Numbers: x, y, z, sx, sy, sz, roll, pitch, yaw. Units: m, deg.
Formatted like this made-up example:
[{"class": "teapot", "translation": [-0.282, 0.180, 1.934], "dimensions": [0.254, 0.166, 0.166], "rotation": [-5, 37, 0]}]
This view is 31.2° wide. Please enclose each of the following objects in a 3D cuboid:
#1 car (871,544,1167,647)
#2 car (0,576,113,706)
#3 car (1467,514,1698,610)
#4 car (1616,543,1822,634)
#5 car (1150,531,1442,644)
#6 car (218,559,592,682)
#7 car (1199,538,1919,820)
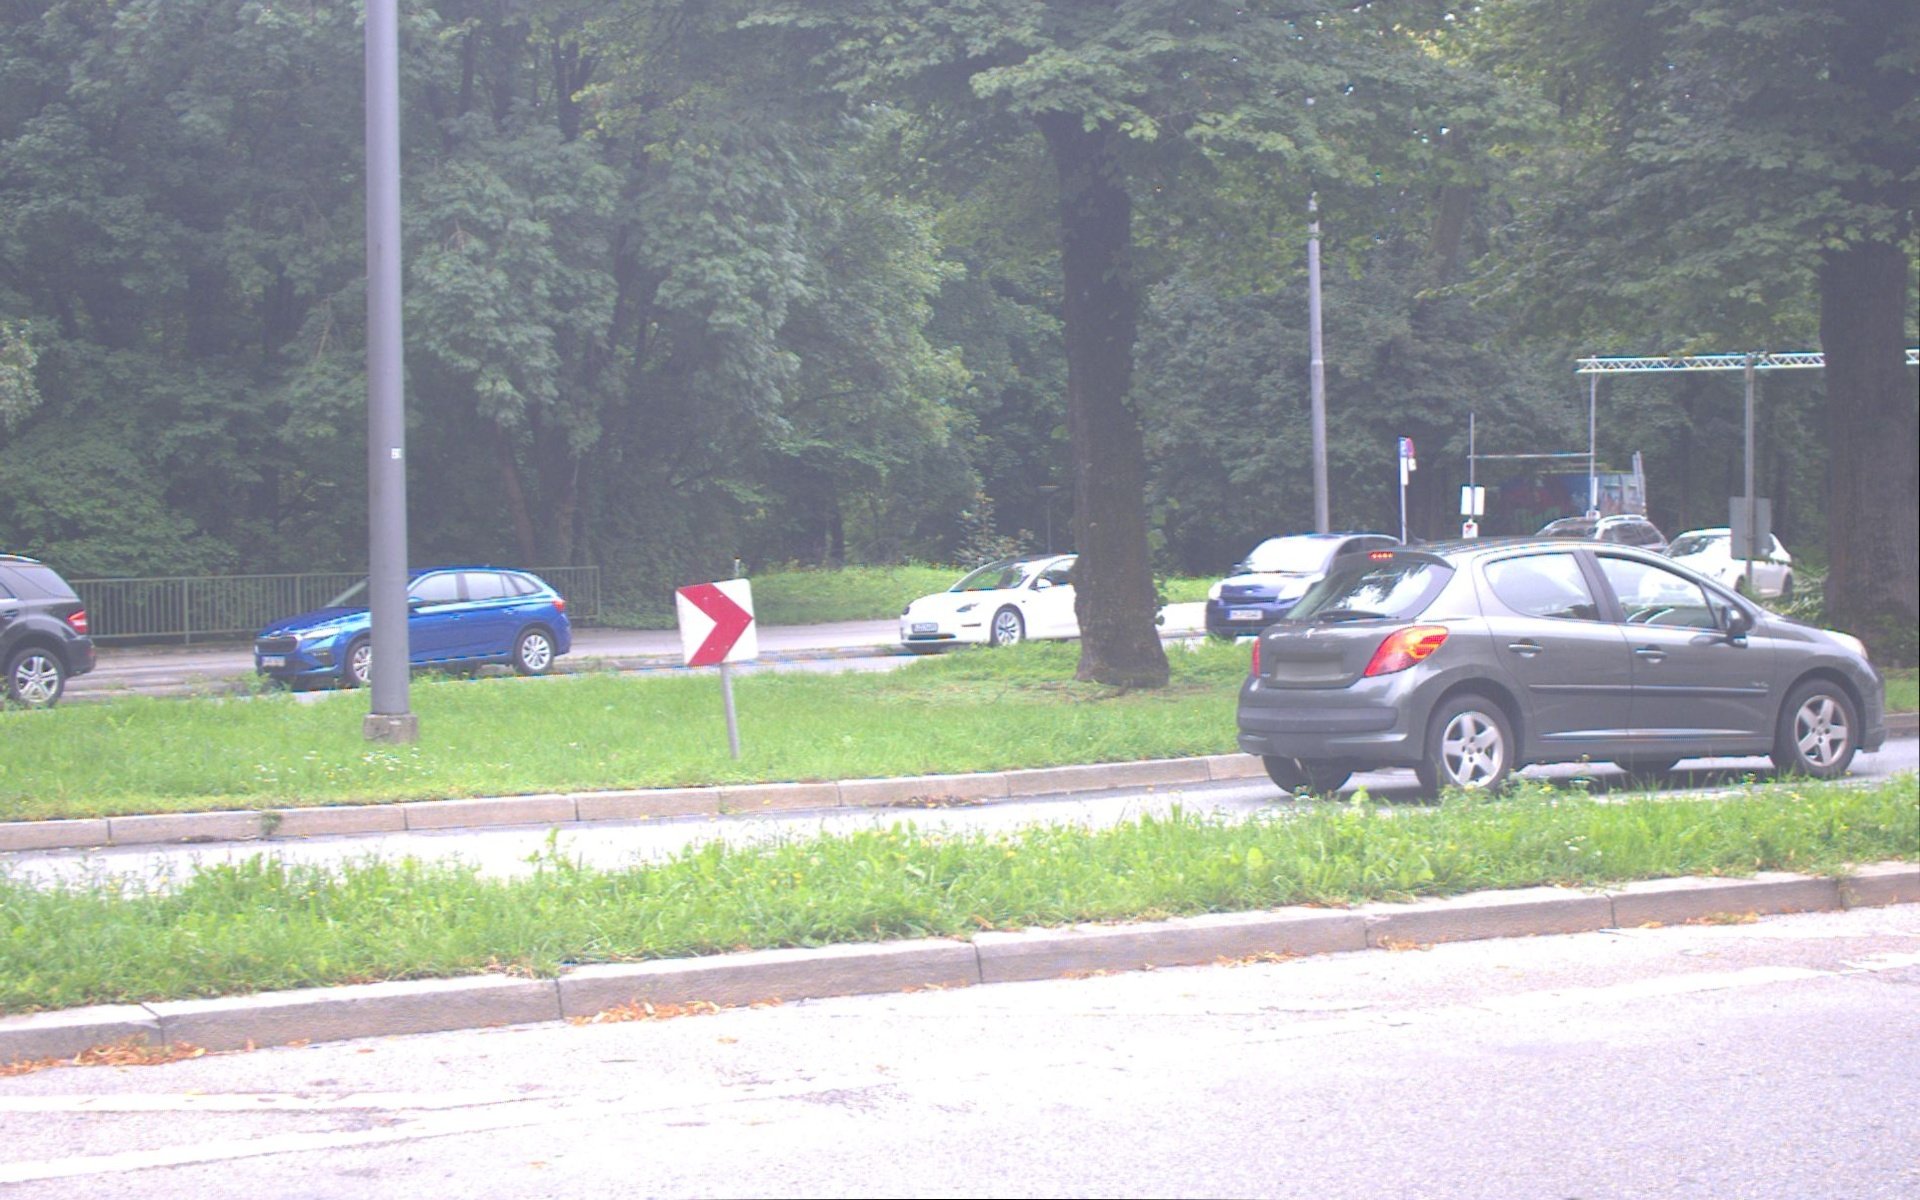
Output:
[{"class": "car", "translation": [0.933, -0.076, 52.082], "dimensions": [1.998, 1.441, 4.412], "rotation": [-1, 0, 44]}, {"class": "car", "translation": [-12.210, 0.506, 38.851], "dimensions": [1.999, 1.441, 4.756], "rotation": [-1, 0, 44]}, {"class": "car", "translation": [11.716, -0.725, 64.507], "dimensions": [1.998, 1.712, 4.637], "rotation": [-1, 0, 44]}, {"class": "car", "translation": [12.942, -0.215, 58.455], "dimensions": [1.831, 1.441, 4.227], "rotation": [-1, 0, 36]}, {"class": "car", "translation": [4.646, -0.193, 47.208], "dimensions": [1.896, 1.441, 4.023], "rotation": [0, 1, 43]}, {"class": "car", "translation": [-7.079, 0.245, 44.167], "dimensions": [1.998, 1.441, 4.412], "rotation": [-1, 0, 44]}, {"class": "car", "translation": [3.582, 0.398, 20.014], "dimensions": [4.061, 1.456, 1.764], "rotation": [-1, 1, -30]}]
